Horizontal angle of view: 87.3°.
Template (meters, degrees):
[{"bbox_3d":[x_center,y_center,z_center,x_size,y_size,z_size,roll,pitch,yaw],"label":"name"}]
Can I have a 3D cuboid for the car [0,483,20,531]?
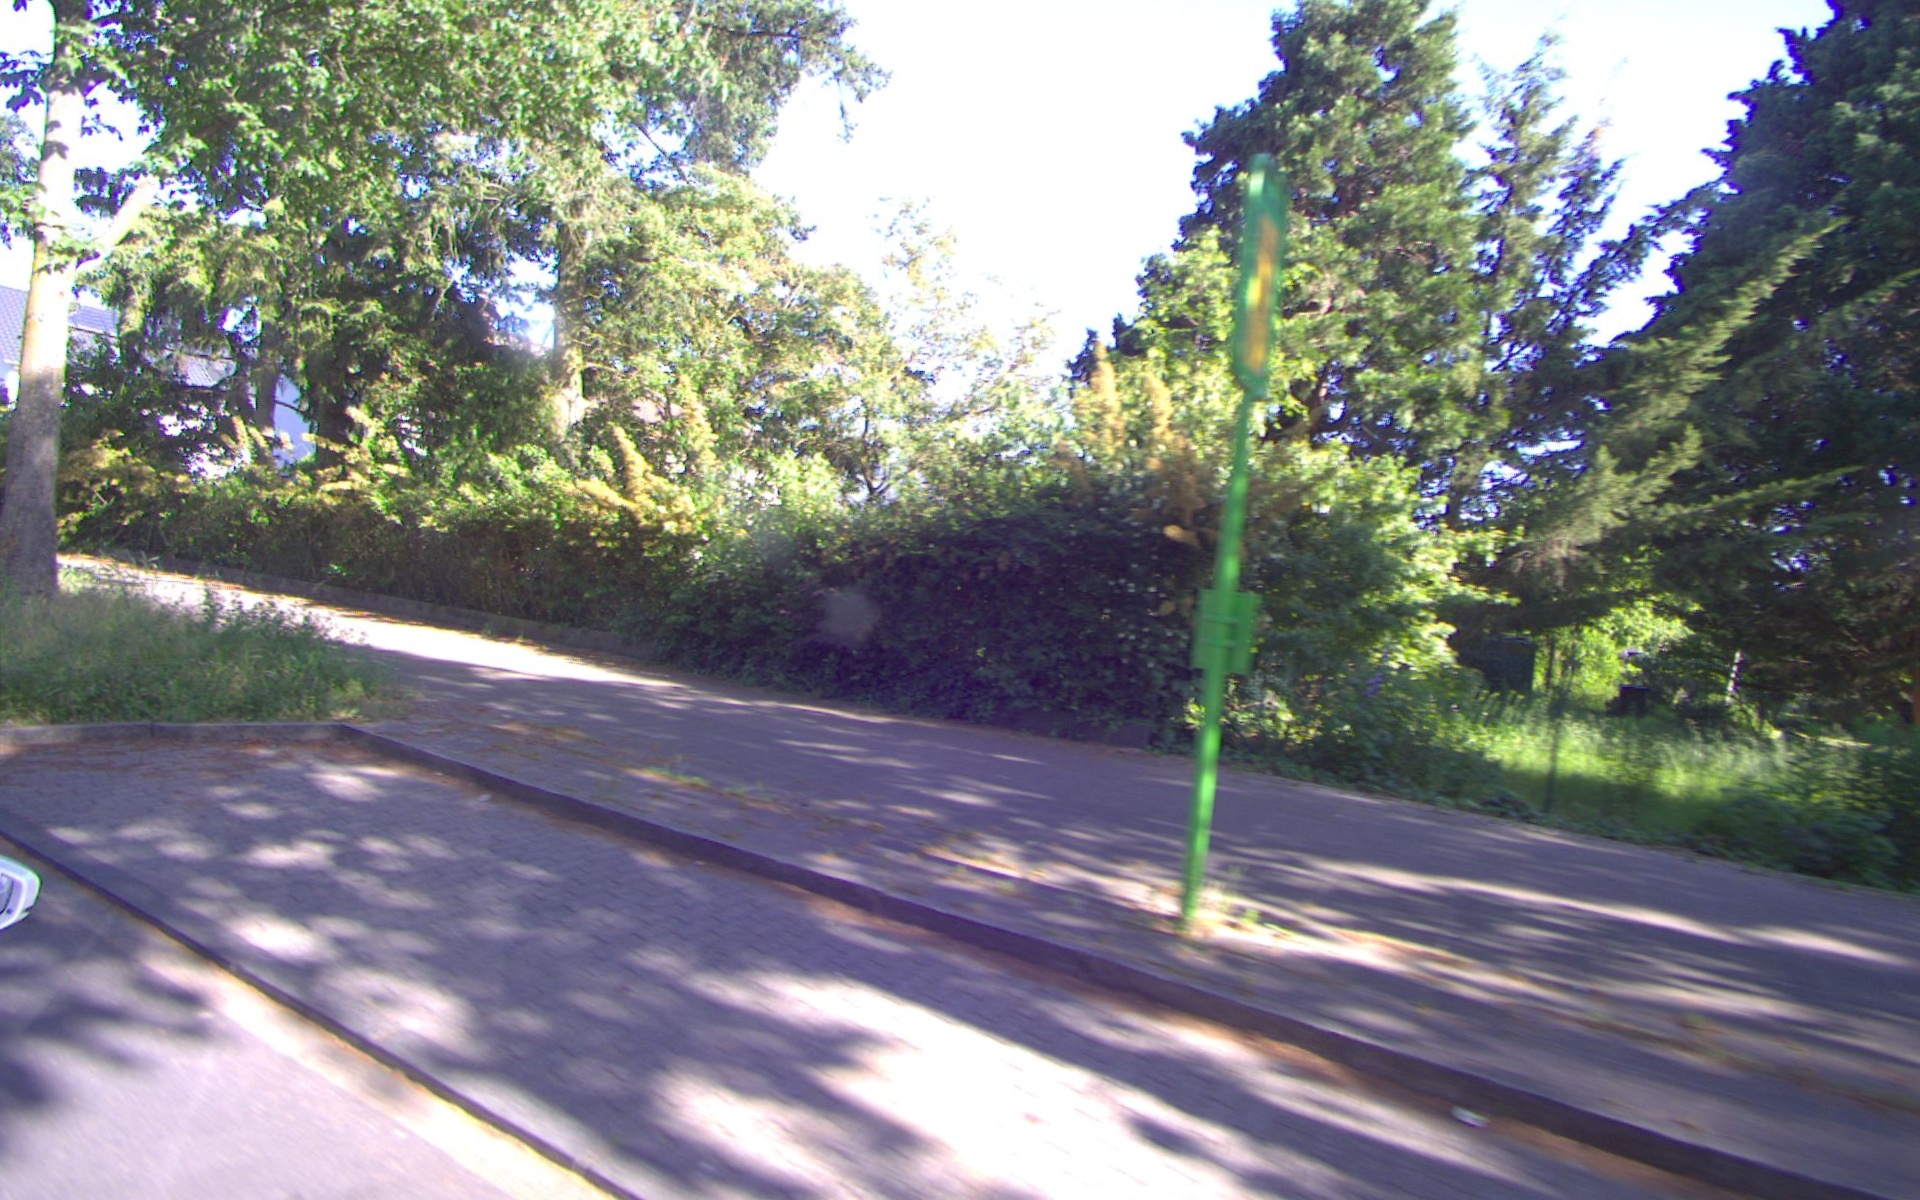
[{"bbox_3d":[-35.924,-3.507,35.211,1.744,1.661,3.996,7,1,24],"label":"car"}]
